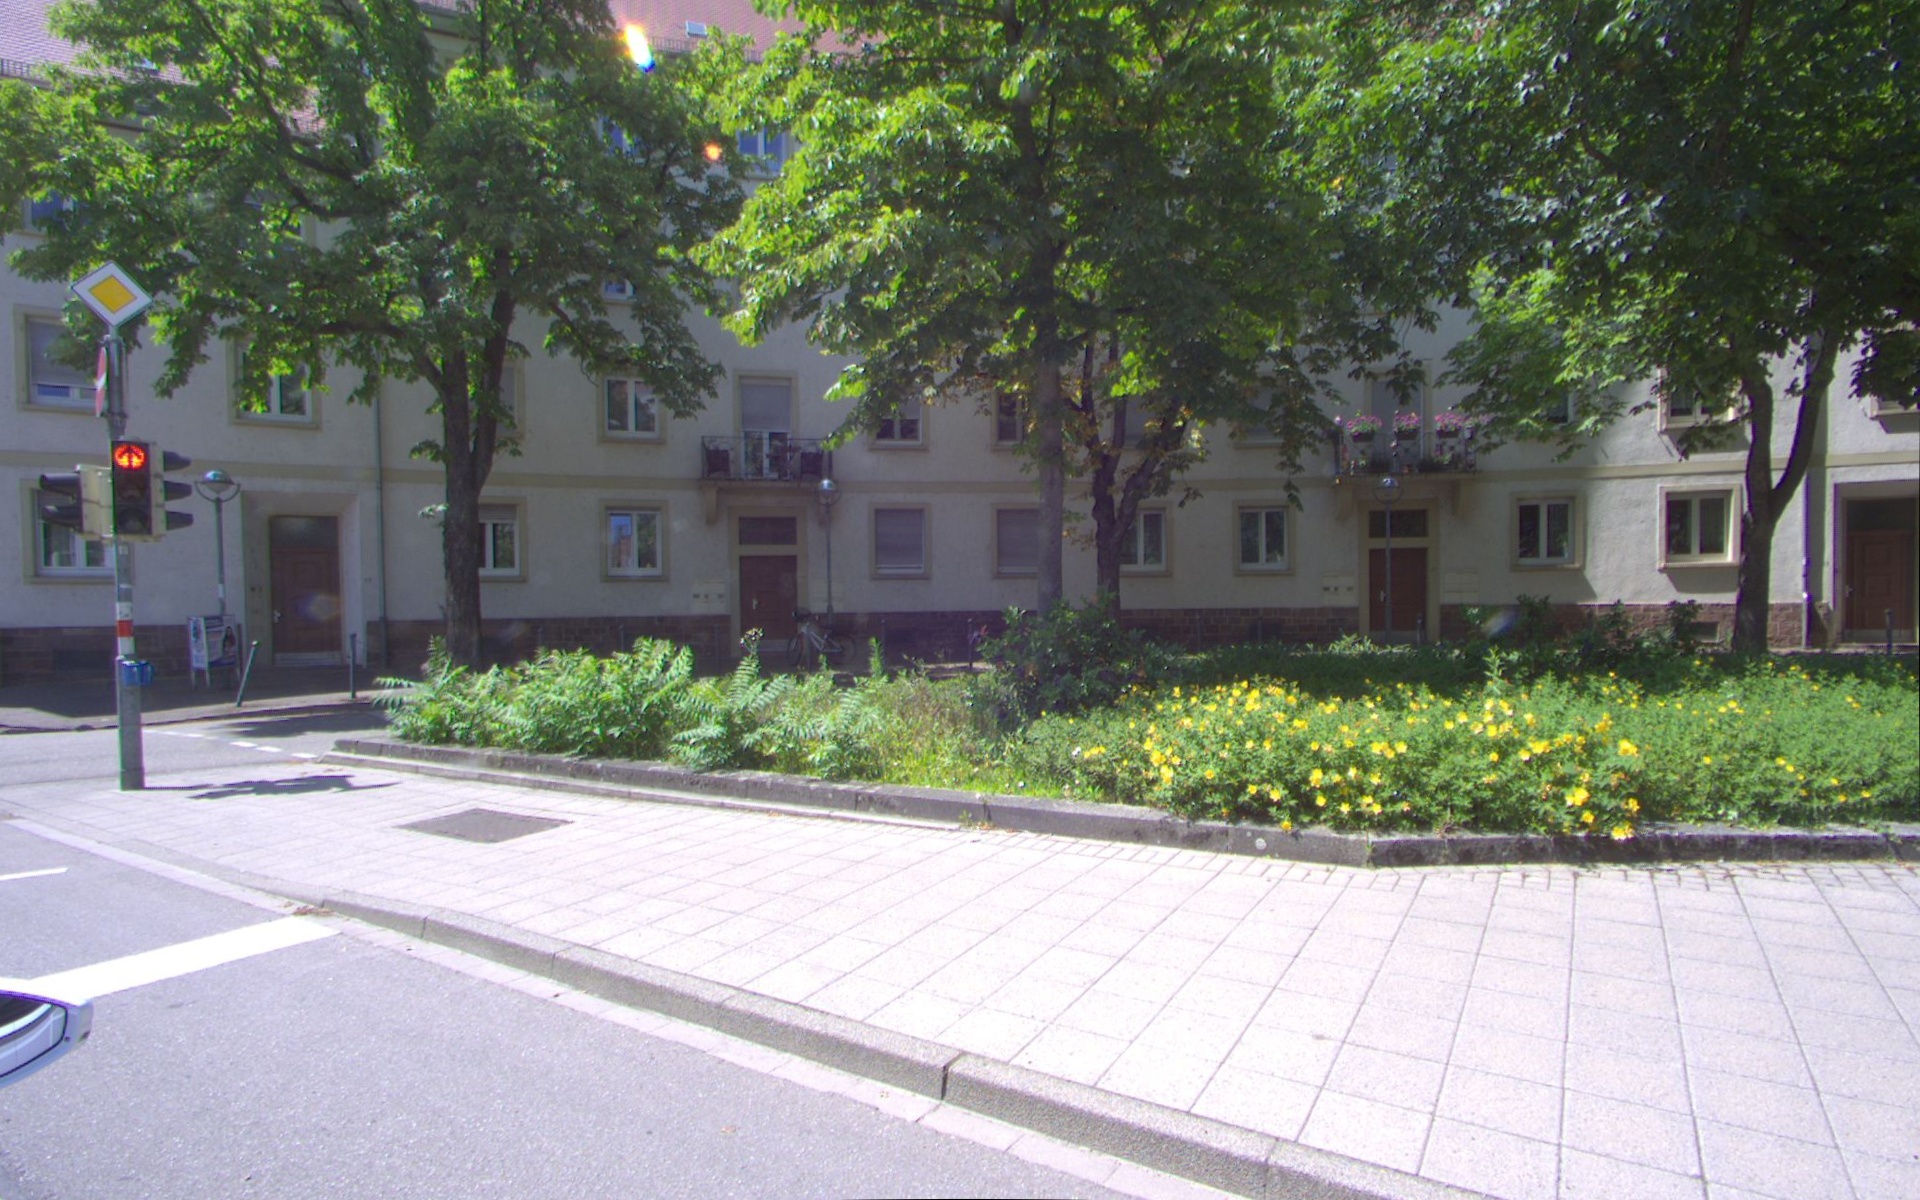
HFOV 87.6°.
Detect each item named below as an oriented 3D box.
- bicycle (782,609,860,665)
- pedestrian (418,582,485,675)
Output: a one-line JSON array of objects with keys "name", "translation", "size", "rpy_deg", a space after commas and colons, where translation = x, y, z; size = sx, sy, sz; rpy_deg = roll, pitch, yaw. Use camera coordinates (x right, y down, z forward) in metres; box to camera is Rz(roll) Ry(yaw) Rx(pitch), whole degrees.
[{"name": "bicycle", "translation": [-2.882, 0.759, 20.871], "size": [1.575, 1.119, 0.525], "rpy_deg": [-1, 1, -4]}, {"name": "pedestrian", "translation": [-10.049, 0.539, 19.824], "size": [1.040, 1.715, 0.650], "rpy_deg": [-4, 7, -24]}]
